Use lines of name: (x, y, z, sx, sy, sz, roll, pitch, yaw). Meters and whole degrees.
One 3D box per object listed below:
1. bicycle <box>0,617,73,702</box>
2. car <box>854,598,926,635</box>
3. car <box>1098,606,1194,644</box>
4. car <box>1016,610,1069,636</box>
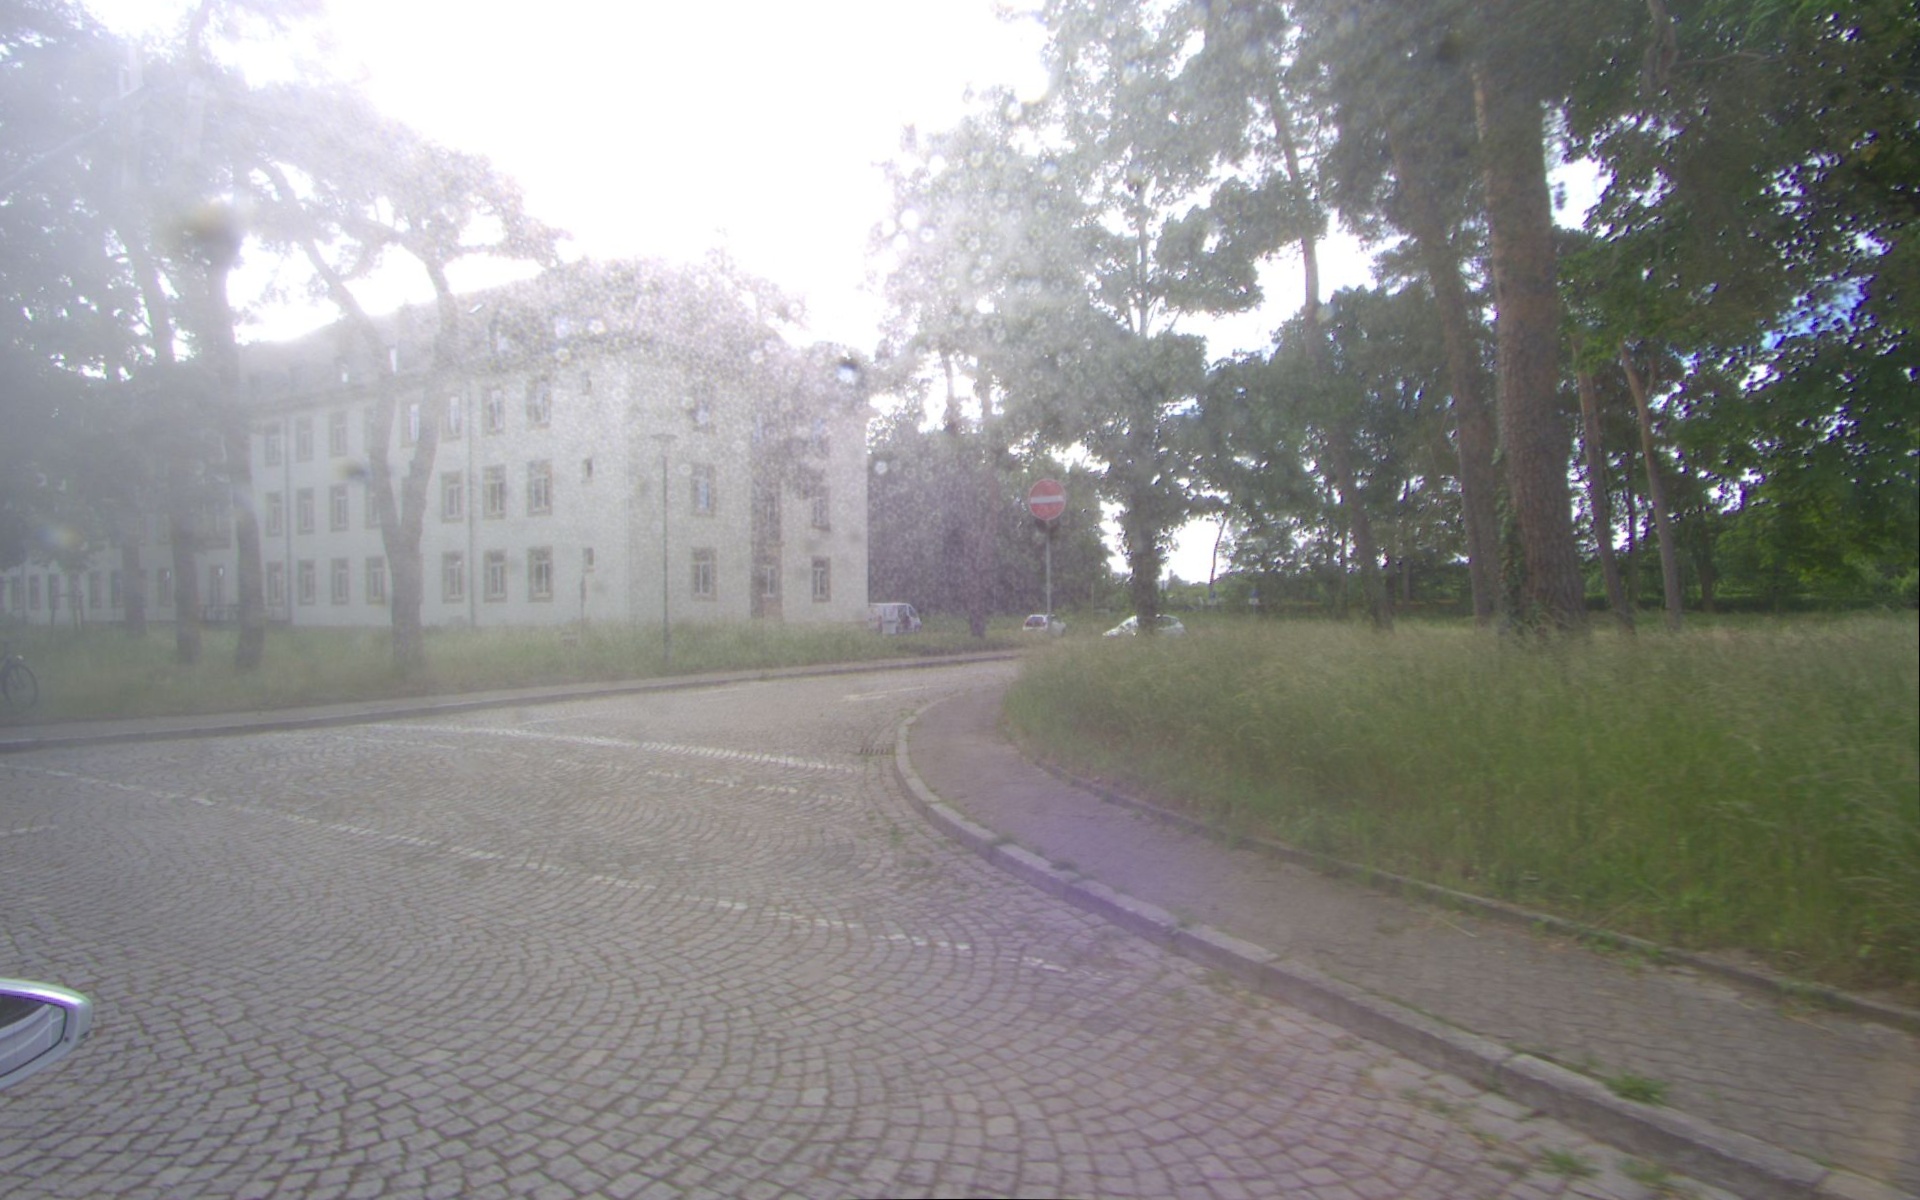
bicycle: (-14.090, 0.845, 14.784, 1.845, 1.192, 0.908, 0, 0, 29)
car: (-4.532, 1.049, 65.679, 2.180, 2.318, 5.173, 0, 0, 30)
car: (7.426, 0.970, 39.673, 1.866, 1.434, 4.223, 0, -1, 41)
car: (5.073, 1.359, 61.087, 1.970, 1.527, 3.477, 0, -1, 30)
